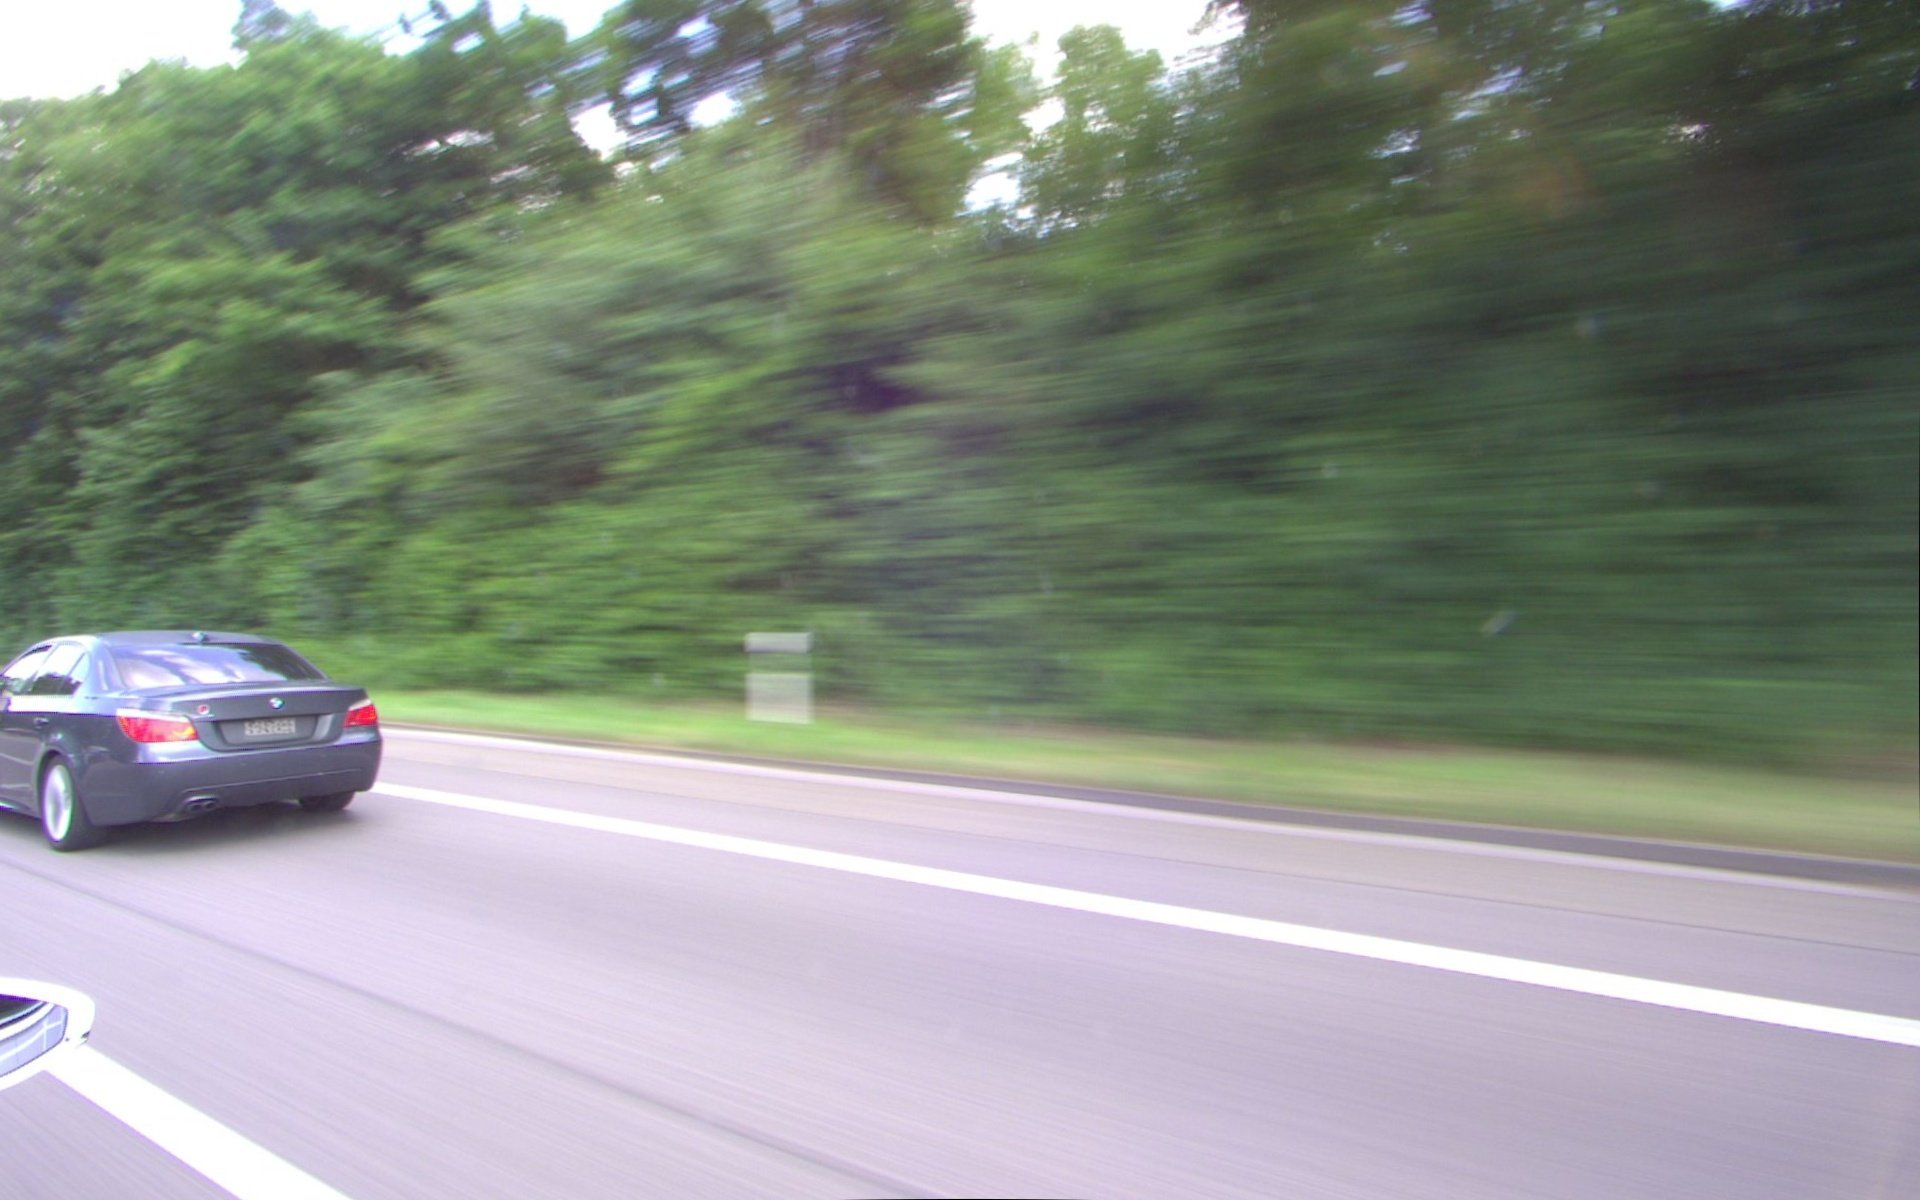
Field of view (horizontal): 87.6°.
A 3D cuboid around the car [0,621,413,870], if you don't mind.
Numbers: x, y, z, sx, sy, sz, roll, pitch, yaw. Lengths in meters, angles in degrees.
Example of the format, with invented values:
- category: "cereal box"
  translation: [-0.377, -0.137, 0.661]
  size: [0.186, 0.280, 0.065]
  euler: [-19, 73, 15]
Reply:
- category: "car"
  translation: [-6.603, 0.922, 8.044]
  size: [4.810, 1.494, 1.771]
  euler: [-1, -1, 32]
